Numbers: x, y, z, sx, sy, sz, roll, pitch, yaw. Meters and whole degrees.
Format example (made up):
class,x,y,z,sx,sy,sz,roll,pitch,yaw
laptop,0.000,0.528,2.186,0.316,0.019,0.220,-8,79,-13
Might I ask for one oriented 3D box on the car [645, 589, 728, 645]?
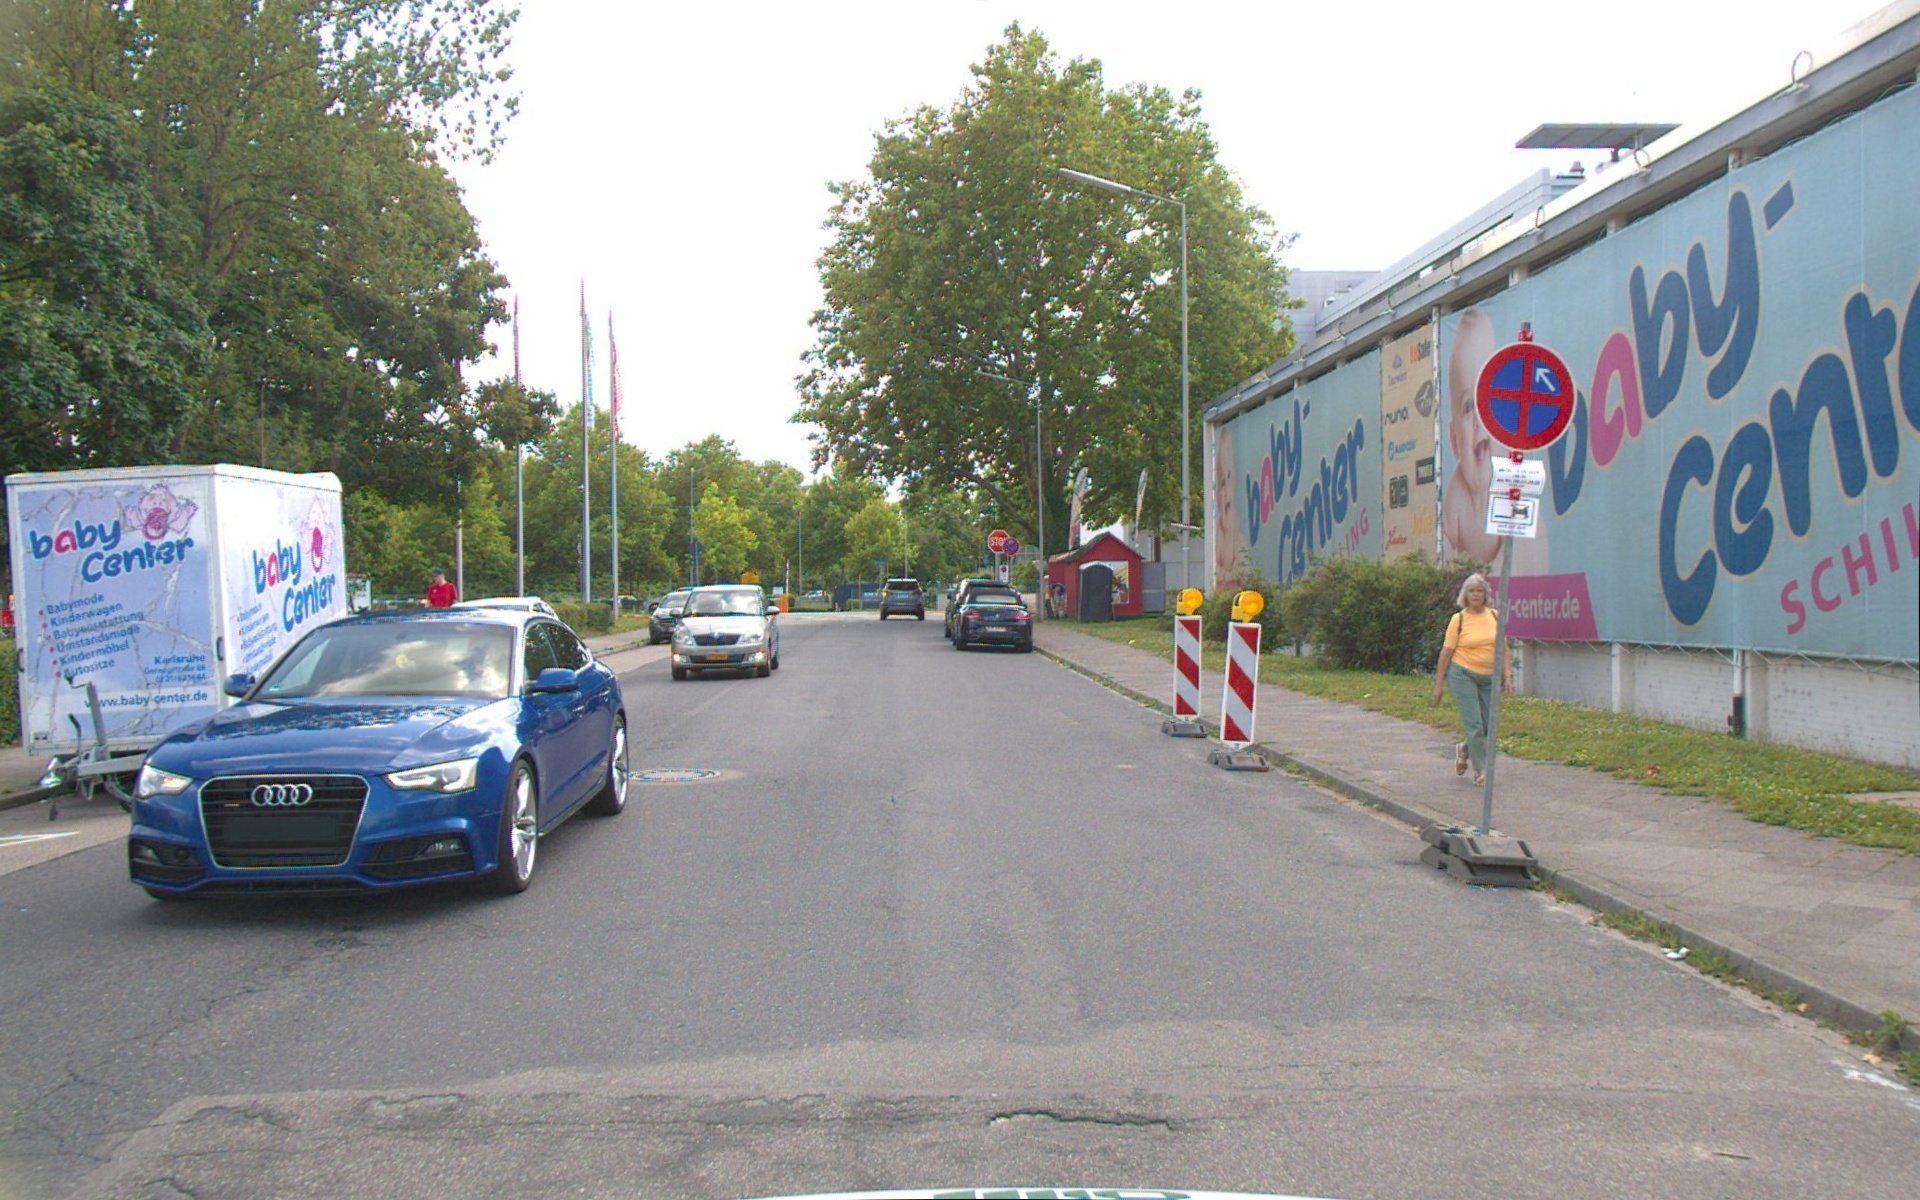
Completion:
class,x,y,z,sx,sy,sz,roll,pitch,yaw
car,-7.932,0.459,48.279,1.675,1.444,4.330,-3,1,-1

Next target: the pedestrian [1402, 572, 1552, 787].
class,x,y,z,sx,sy,sz,roll,pitch,yaw
pedestrian,3.919,0.576,12.614,0.668,1.560,1.128,-1,0,-7

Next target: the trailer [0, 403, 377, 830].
class,x,y,z,sx,sy,sz,roll,pitch,yaw
trailer,-6.623,0.111,13.523,2.097,2.831,4.701,-3,1,-3

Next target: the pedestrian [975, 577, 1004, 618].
class,x,y,z,sx,sy,sz,roll,pitch,yaw
pedestrian,1.360,-0.128,77.640,0.986,1.881,1.222,0,0,-20

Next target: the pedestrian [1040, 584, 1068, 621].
class,x,y,z,sx,sy,sz,roll,pitch,yaw
pedestrian,3.453,0.074,60.812,0.992,1.337,0.965,-1,0,5

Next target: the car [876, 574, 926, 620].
class,x,y,z,sx,sy,sz,roll,pitch,yaw
car,-2.509,-0.149,69.903,1.923,1.847,4.272,-1,1,-4

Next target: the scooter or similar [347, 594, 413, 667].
class,x,y,z,sx,sy,sz,roll,pitch,yaw
scooter or similar,-9.811,0.498,28.018,0.506,1.214,1.281,0,0,9

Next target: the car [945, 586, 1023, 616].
class,x,y,z,sx,sy,sz,roll,pitch,yaw
car,1.308,0.034,91.303,4.137,1.607,1.922,-1,0,-5

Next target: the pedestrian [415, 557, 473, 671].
class,x,y,z,sx,sy,sz,roll,pitch,yaw
pedestrian,-9.453,0.252,30.321,0.793,2.049,0.885,-1,0,-3

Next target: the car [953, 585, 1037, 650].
class,x,y,z,sx,sy,sz,roll,pitch,yaw
car,0.779,0.375,39.567,1.771,1.415,4.587,2,0,-1

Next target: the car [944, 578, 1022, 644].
class,x,y,z,sx,sy,sz,roll,pitch,yaw
car,0.594,0.263,45.922,1.772,1.694,4.637,2,0,-4

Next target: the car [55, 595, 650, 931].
class,x,y,z,sx,sy,sz,roll,pitch,yaw
car,-3.071,0.707,9.450,1.884,1.401,4.378,-1,1,-2

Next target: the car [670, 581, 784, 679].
class,x,y,z,sx,sy,sz,roll,pitch,yaw
car,-3.902,0.454,28.200,1.559,1.490,3.759,-2,1,-3

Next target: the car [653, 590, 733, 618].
class,x,y,z,sx,sy,sz,roll,pitch,yaw
car,-14.493,0.221,89.877,4.137,1.430,1.922,-1,0,-5

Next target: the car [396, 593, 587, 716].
class,x,y,z,sx,sy,sz,roll,pitch,yaw
car,-6.690,0.710,24.058,1.730,1.505,4.232,-3,1,-3

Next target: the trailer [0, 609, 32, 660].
class,x,y,z,sx,sy,sz,roll,pitch,yaw
trailer,-25.093,0.858,40.524,3.737,1.211,1.716,-1,1,3
